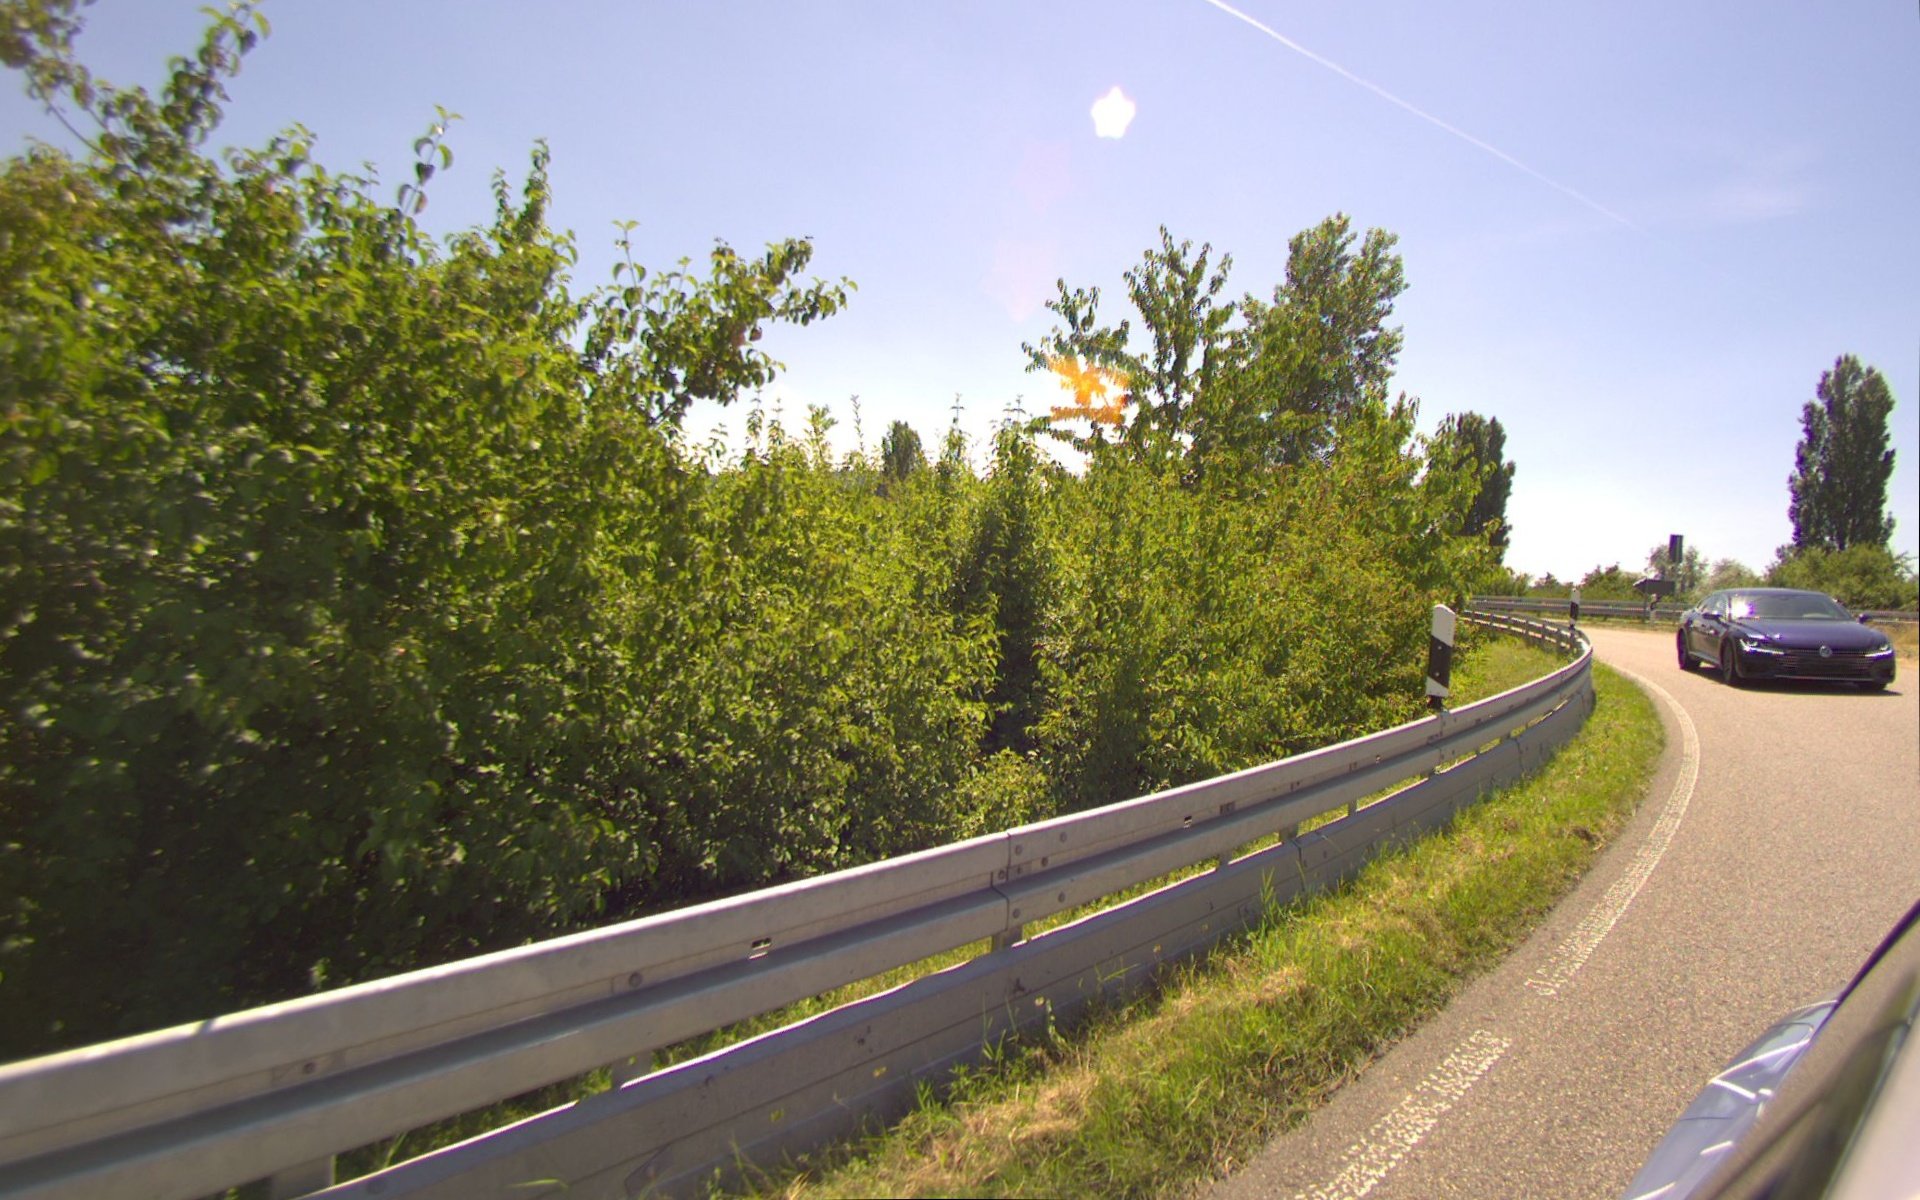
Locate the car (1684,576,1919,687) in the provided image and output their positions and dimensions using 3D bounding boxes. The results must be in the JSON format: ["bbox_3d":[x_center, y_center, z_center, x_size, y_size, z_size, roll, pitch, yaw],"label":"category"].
[{"bbox_3d":[12.784,0.413,15.623,1.825,1.449,4.493,-2,0,26],"label":"car"}]
